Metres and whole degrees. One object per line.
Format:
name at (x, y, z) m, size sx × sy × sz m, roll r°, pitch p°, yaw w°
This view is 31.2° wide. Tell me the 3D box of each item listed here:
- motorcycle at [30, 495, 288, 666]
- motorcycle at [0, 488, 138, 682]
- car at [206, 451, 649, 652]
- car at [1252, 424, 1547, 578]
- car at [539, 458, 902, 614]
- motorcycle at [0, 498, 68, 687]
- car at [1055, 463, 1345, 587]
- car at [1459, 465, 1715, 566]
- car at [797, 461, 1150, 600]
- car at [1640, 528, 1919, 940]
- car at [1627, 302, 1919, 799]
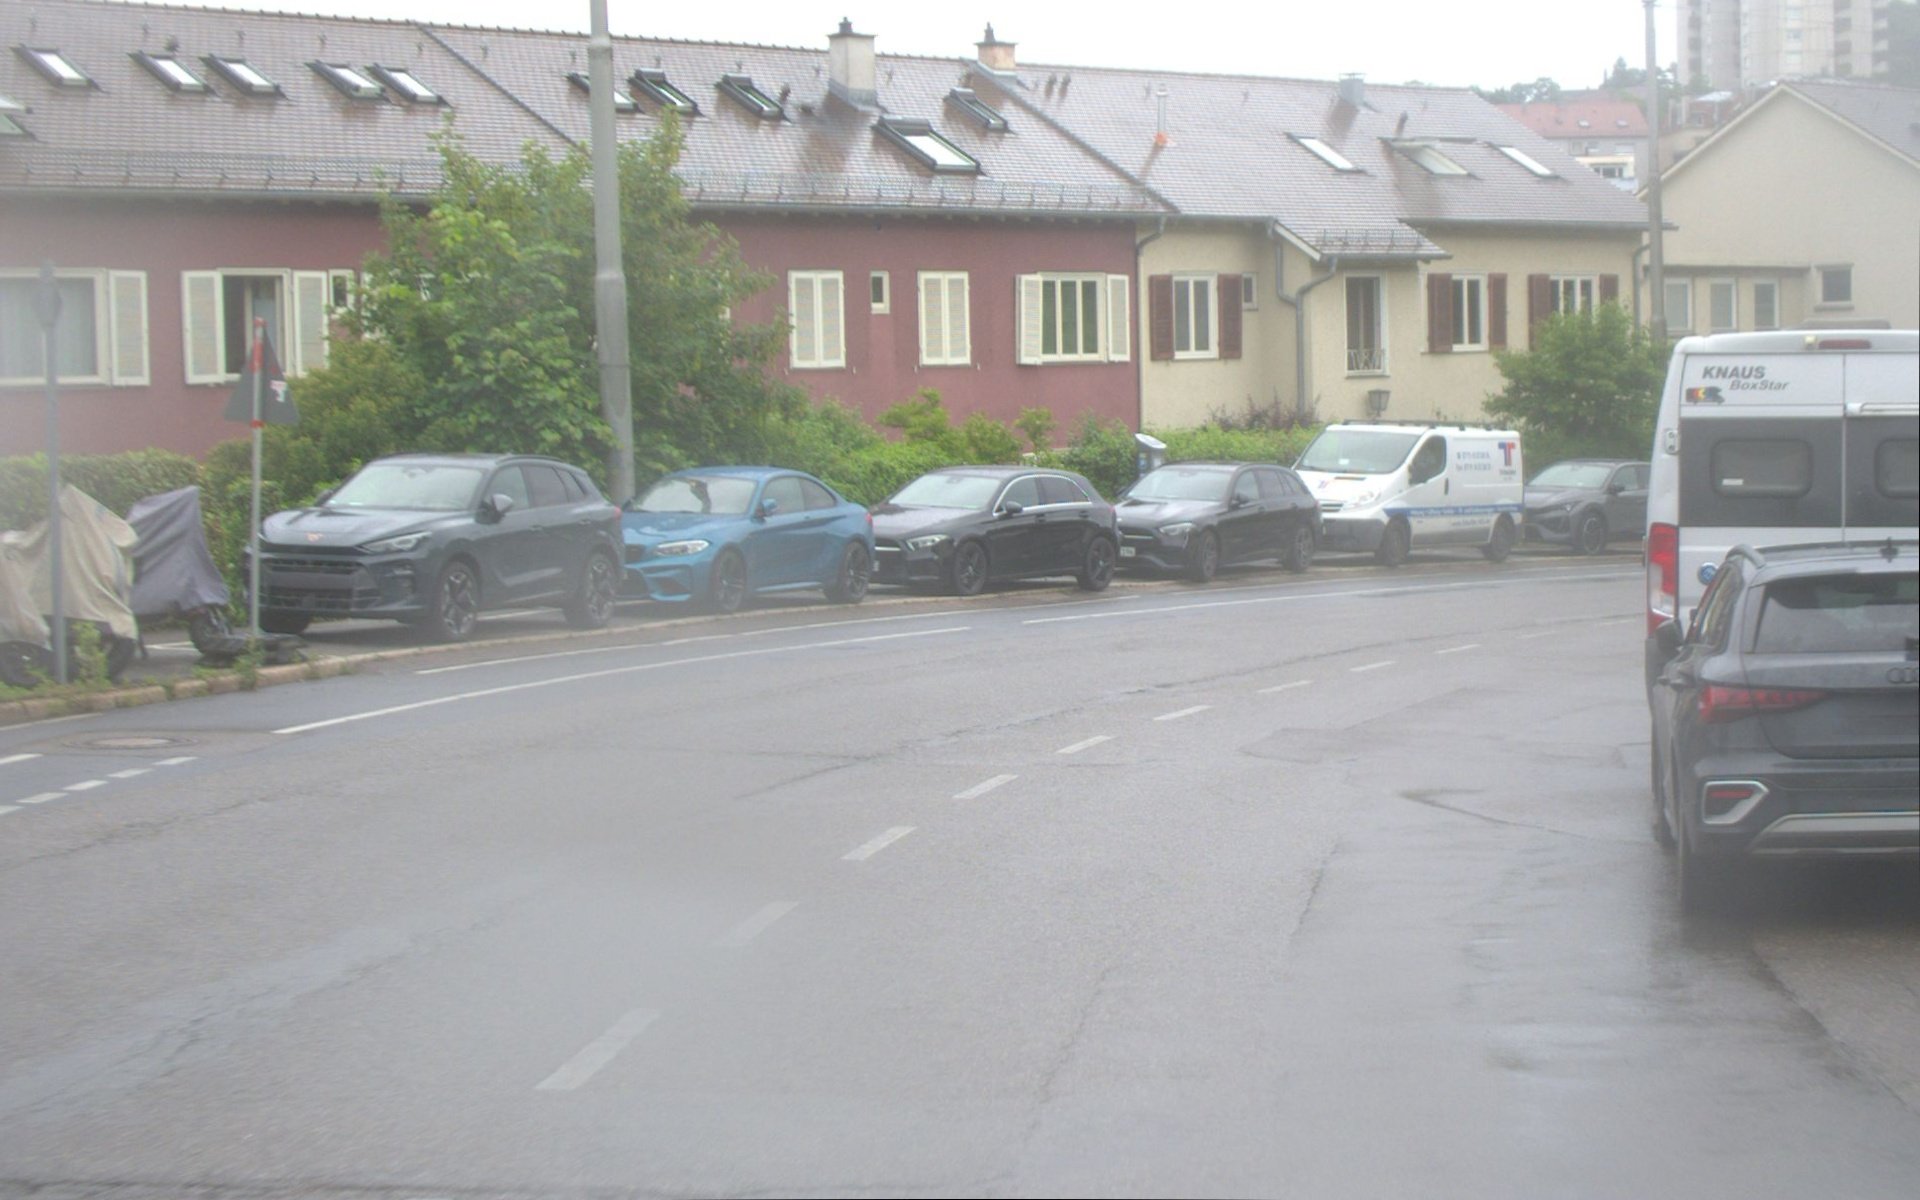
motorcycle at (-6.144, -0.153, 26.447) m, size 1.900 × 1.267 × 0.576 m, roll 1°, pitch 3°, yaw -12°
motorcycle at (-6.690, -0.130, 24.923) m, size 0.612 × 1.298 × 1.807 m, roll -1°, pitch 4°, yaw -42°
car at (-4.592, -0.499, 30.332) m, size 1.924 × 1.571 × 4.383 m, roll 3°, pitch 3°, yaw 21°
car at (6.376, -1.443, 49.449) m, size 1.852 × 2.071 × 5.010 m, roll 3°, pitch 4°, yaw 38°
car at (-2.357, -0.707, 35.060) m, size 1.701 × 1.400 × 4.467 m, roll 3°, pitch 4°, yaw 25°
motorcycle at (-7.142, -0.076, 23.984) m, size 1.803 × 1.275 × 0.511 m, roll 1°, pitch 3°, yaw 19°
car at (3.173, -1.009, 44.597) m, size 1.811 × 1.471 × 4.514 m, roll 3°, pitch 3°, yaw 32°
car at (9.880, -1.346, 53.976) m, size 1.813 × 1.471 × 4.511 m, roll 4°, pitch 4°, yaw 42°
car at (0.222, -0.839, 39.846) m, size 1.812 × 1.471 × 4.513 m, roll 3°, pitch 3°, yaw 35°
car at (3.870, 0.461, 14.816) m, size 1.754 × 1.490 × 4.182 m, roll -1°, pitch 1°, yaw 10°
car at (5.217, -0.298, 20.342) m, size 2.100 × 2.533 × 5.616 m, roll -1°, pitch 1°, yaw 15°
